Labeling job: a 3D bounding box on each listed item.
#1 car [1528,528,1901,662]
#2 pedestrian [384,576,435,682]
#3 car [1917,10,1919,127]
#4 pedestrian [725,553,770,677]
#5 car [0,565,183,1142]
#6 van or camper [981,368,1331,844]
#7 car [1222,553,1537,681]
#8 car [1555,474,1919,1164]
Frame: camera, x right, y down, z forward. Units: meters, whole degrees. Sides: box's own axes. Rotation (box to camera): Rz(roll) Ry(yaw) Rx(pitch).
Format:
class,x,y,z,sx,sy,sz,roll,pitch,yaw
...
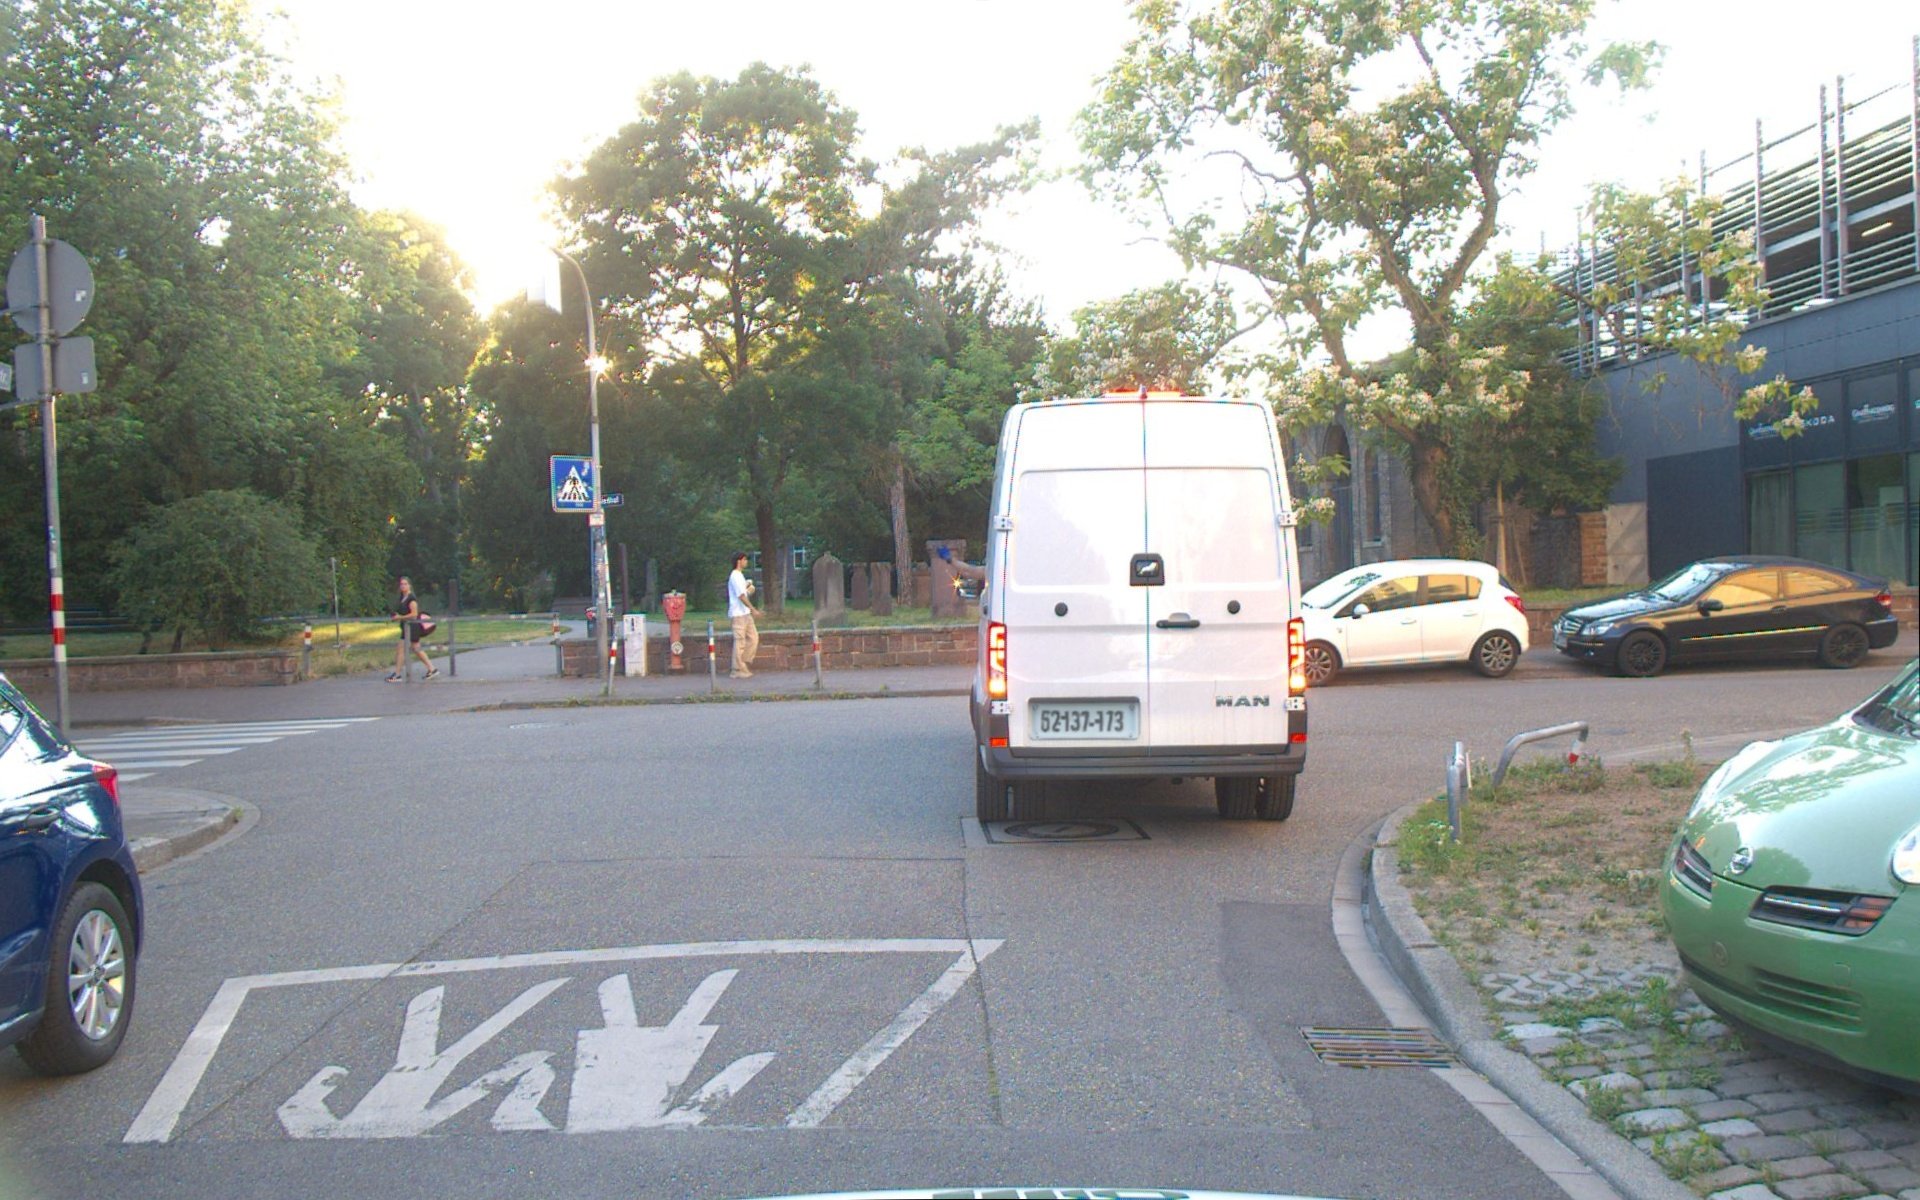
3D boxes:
class,x,y,z,sx,sy,sz,roll,pitch,yaw
car,10.172,-0.069,22.555,4.204,1.529,1.824,-3,1,2
pedestrian,-8.820,0.447,26.497,0.659,1.677,0.647,0,1,-8
car,18.037,-9.509,27.608,1.952,2.049,4.002,-1,0,3
pedestrian,-3.195,0.214,24.877,0.581,1.840,0.620,-1,0,-1
car,-3.483,0.753,3.898,1.700,1.594,3.787,-3,1,-5
van or camper,1.149,0.011,12.472,1.952,2.664,6.404,0,0,1
car,5.699,0.207,22.788,3.779,1.601,1.957,-1,1,-4
car,4.357,0.430,5.083,4.318,1.660,1.844,-3,-1,-5
